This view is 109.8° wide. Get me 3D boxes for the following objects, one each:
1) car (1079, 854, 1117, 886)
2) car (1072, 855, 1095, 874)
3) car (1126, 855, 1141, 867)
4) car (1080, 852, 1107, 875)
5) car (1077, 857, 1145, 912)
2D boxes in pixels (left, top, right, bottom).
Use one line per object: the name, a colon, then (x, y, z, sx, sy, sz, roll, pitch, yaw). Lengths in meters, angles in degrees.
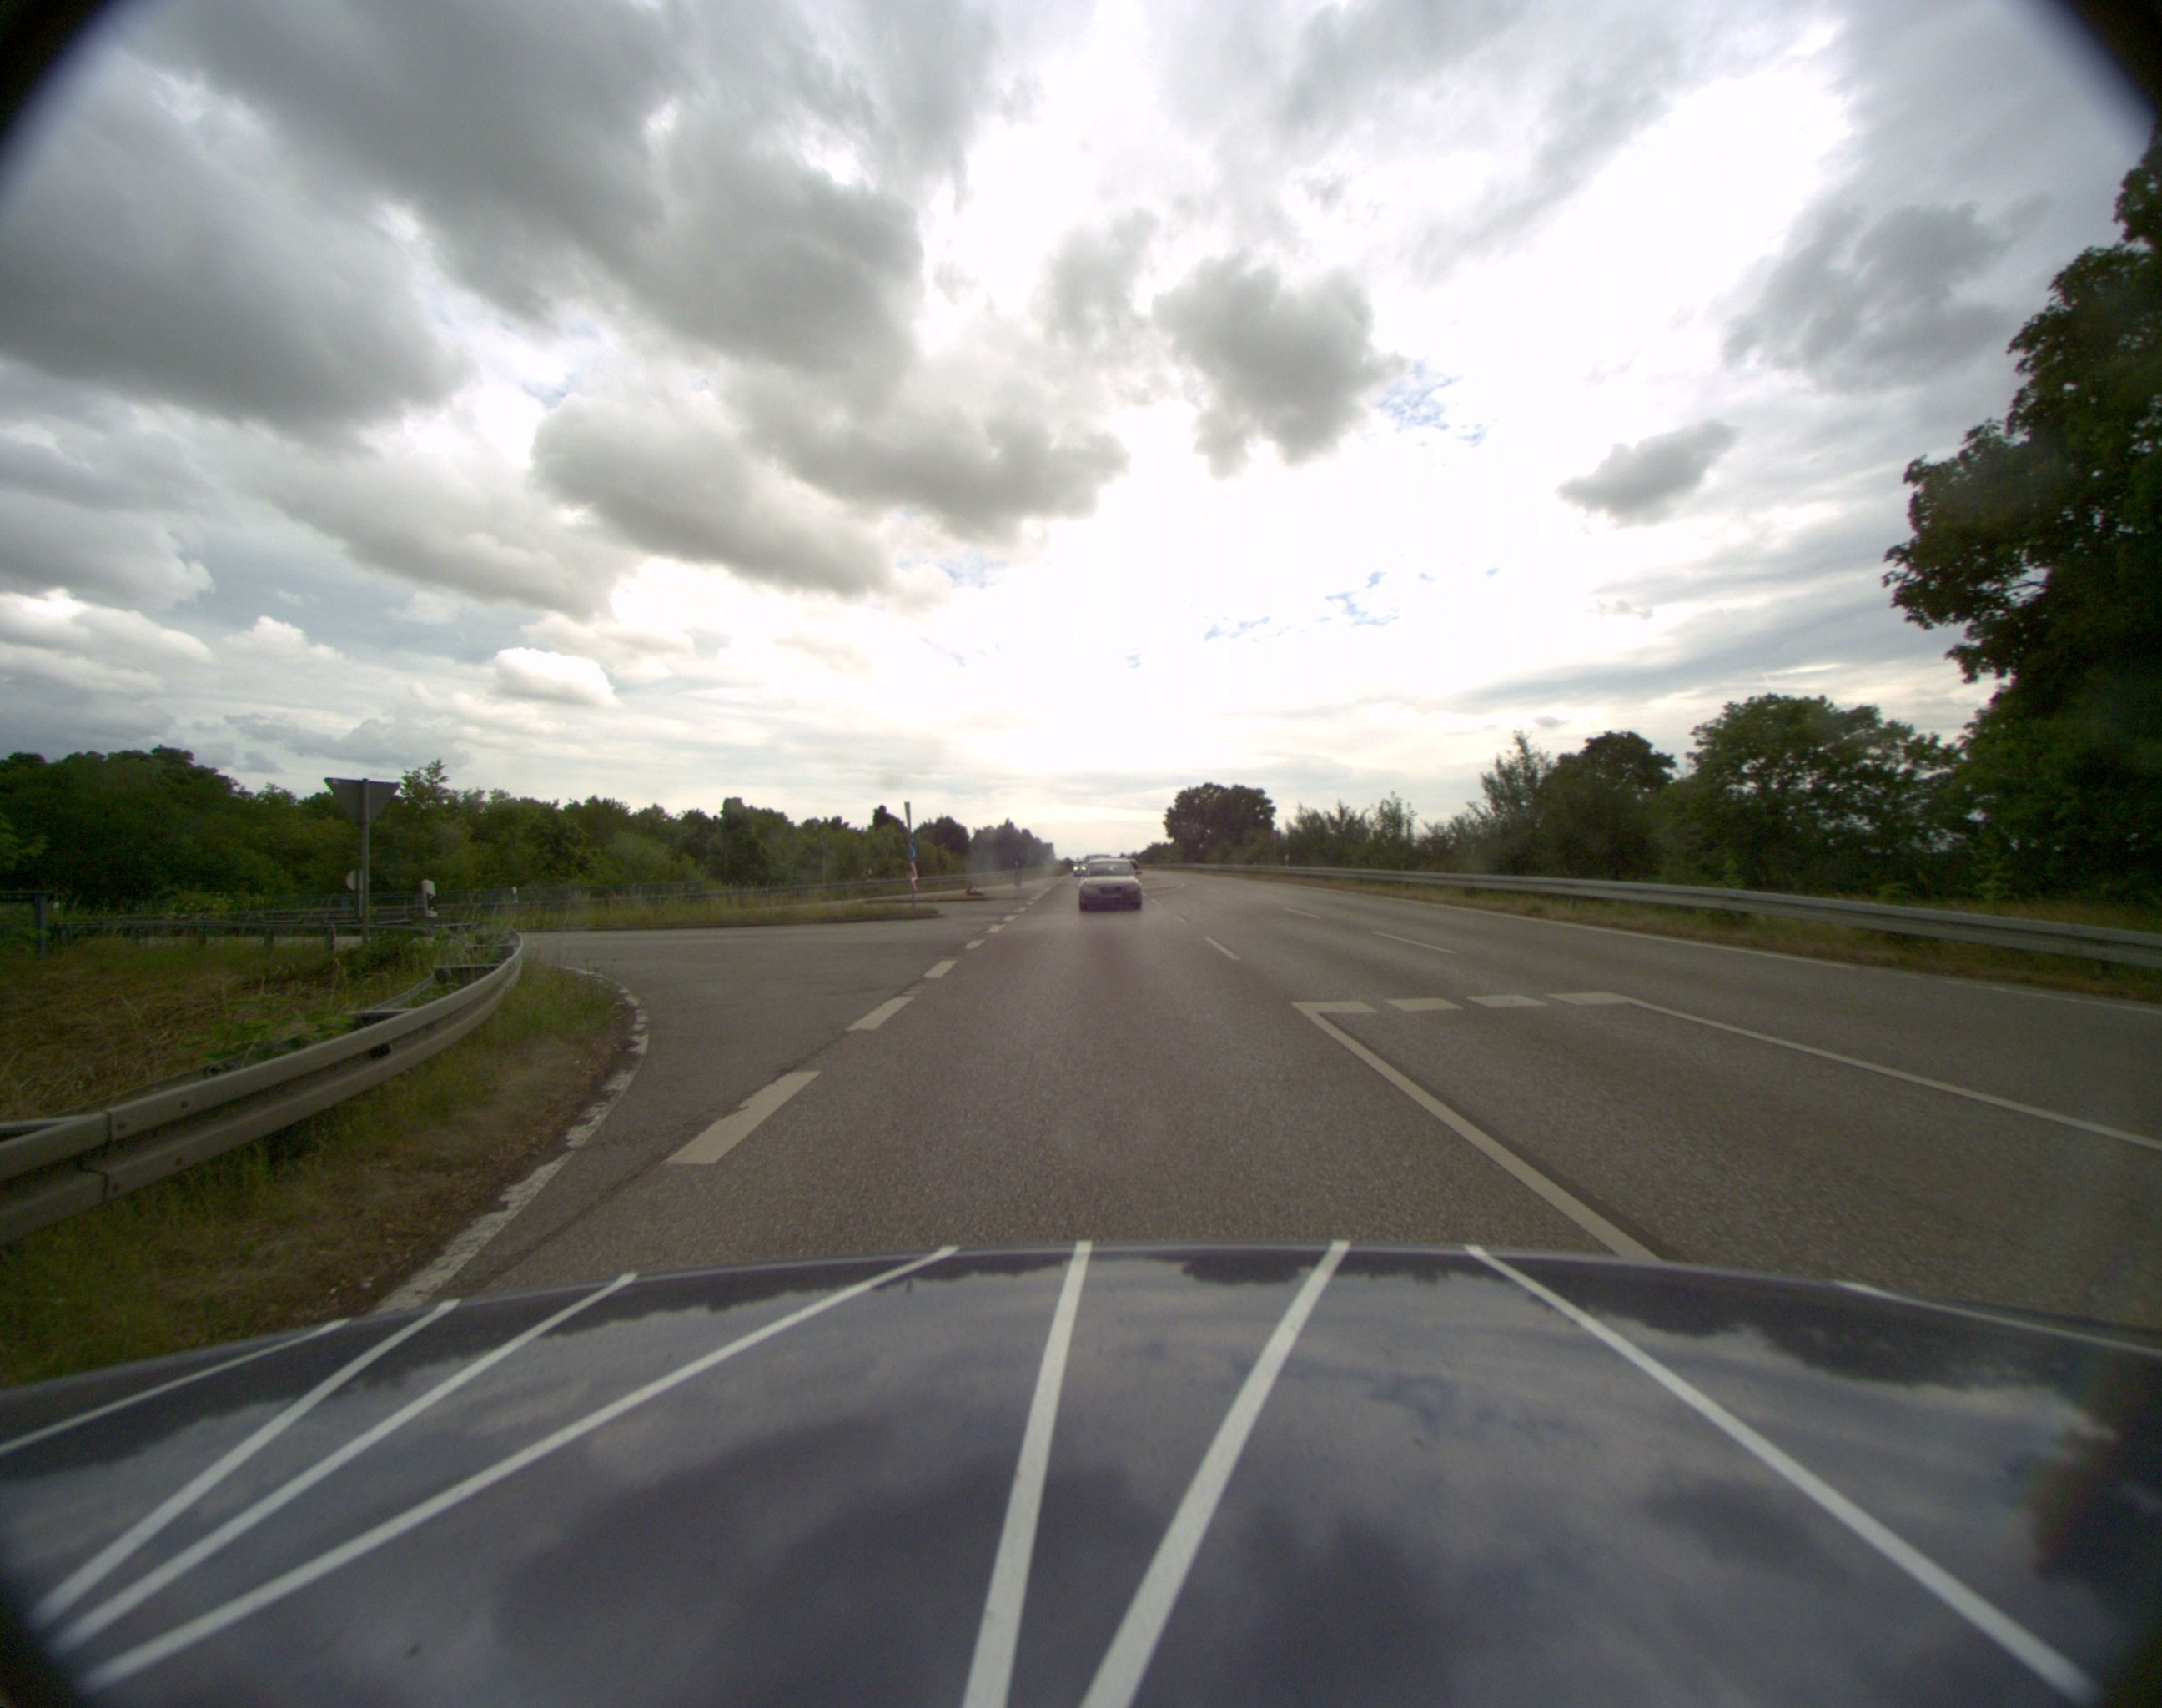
car: (0.849, 0.793, 39.483, 1.835, 1.537, 4.035, -2, 0, 0)
car: (0.241, 0.906, 65.449, 1.835, 1.537, 4.035, -2, 0, 0)
car: (6.999, 0.906, 101.098, 1.715, 1.514, 4.000, -2, 0, 0)
car: (0.857, 0.698, 55.083, 1.835, 1.537, 4.035, -2, 0, 0)
car: (0.826, 0.848, 22.565, 1.784, 1.441, 4.035, -2, 0, 0)
